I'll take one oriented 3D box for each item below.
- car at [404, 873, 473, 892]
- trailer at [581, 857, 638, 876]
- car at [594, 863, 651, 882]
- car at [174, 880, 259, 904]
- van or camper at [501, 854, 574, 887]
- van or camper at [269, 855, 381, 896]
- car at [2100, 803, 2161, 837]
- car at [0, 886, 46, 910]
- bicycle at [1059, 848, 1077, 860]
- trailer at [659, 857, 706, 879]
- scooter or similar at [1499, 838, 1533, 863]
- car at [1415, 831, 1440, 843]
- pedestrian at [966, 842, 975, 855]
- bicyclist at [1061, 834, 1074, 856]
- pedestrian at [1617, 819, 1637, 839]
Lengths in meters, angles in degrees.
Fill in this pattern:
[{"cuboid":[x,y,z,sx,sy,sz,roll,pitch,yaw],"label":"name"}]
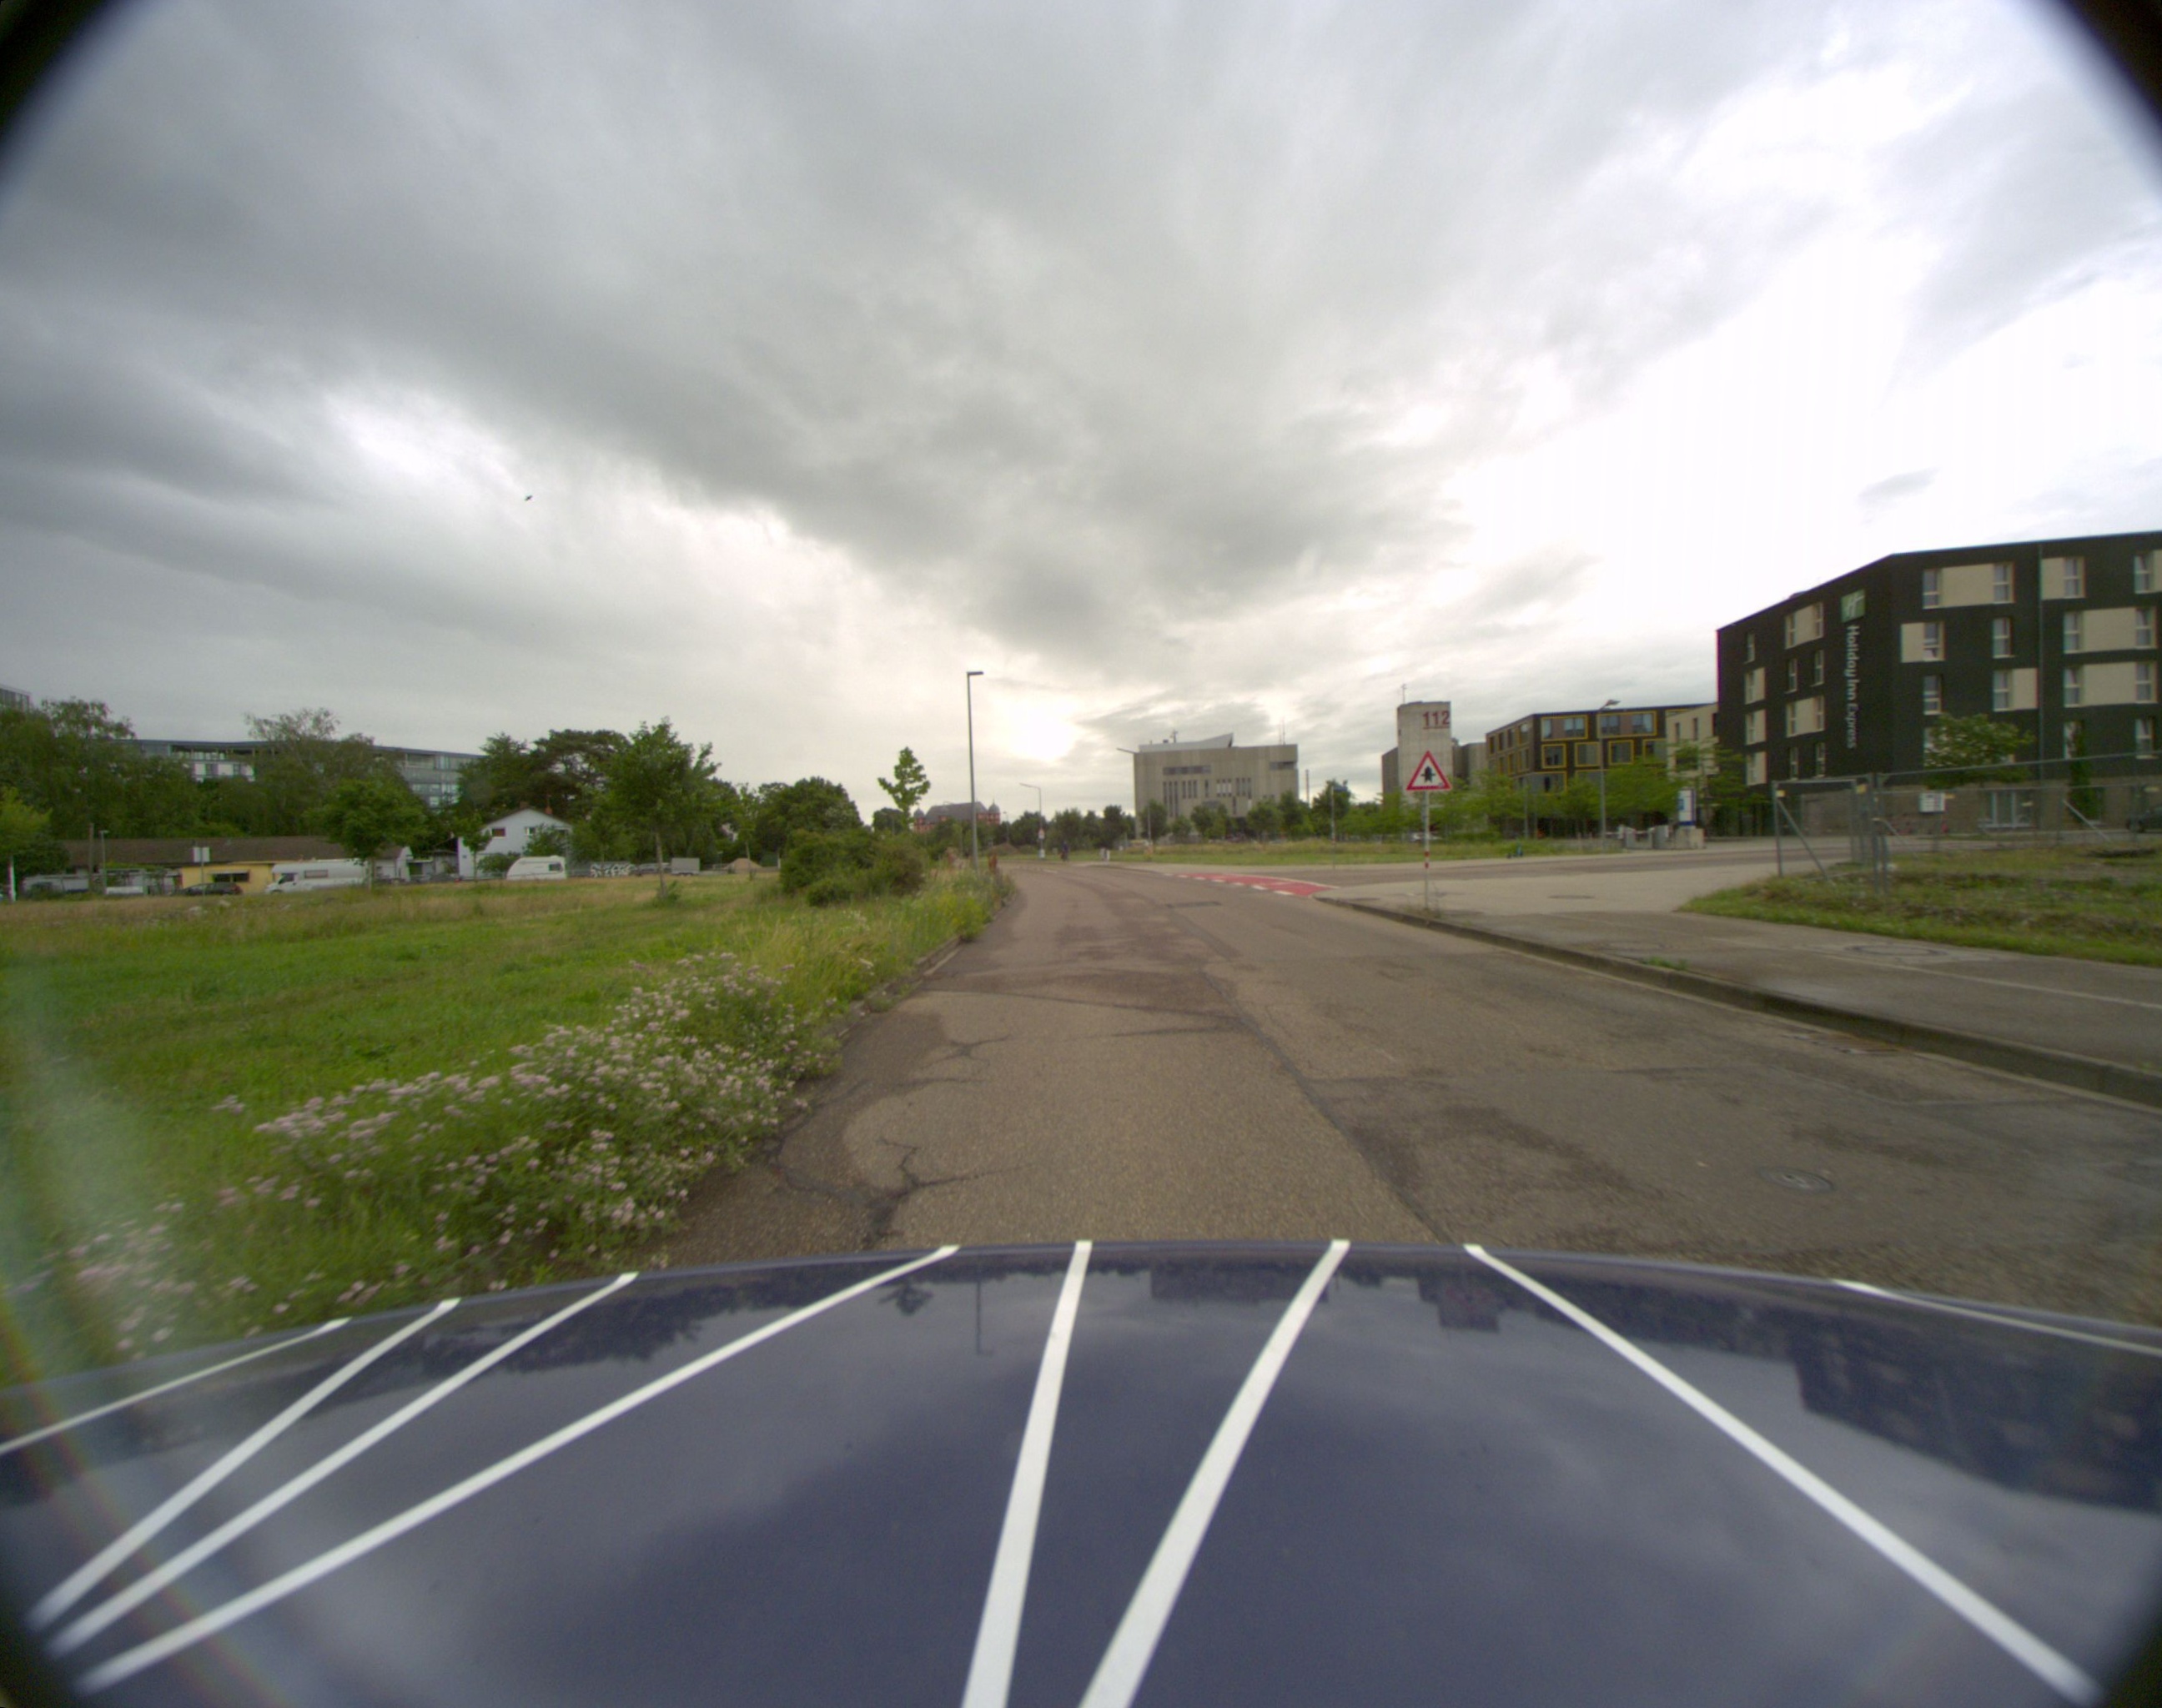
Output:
[{"cuboid":[-56.088,2.443,66.457,4.297,1.377,1.908,-3,1,-31],"label":"car"},{"cuboid":[-40.785,1.074,65.782,4.126,1.524,1.754,-2,0,-33],"label":"trailer"},{"cuboid":[-44.318,1.775,73.513,4.600,1.630,1.995,-2,0,-31],"label":"car"},{"cuboid":[-67.883,2.987,59.738,3.940,1.564,1.996,-2,-2,-30],"label":"car"},{"cuboid":[-50.136,1.498,70.256,5.187,2.815,2.411,-2,0,-29],"label":"van or camper"},{"cuboid":[-62.353,1.732,62.870,6.083,3.093,2.266,-2,0,-32],"label":"van or camper"},{"cuboid":[48.514,-1.550,33.654,1.696,1.433,4.003,-2,0,9],"label":"car"},{"cuboid":[-77.592,3.174,54.009,4.290,1.564,1.996,-2,-2,-30],"label":"car"},{"cuboid":[-1.225,-0.002,70.178,0.887,1.046,2.465,-2,0,-20],"label":"bicycle"},{"cuboid":[-40.147,1.391,76.559,4.005,2.002,1.639,-2,0,-31],"label":"trailer"},{"cuboid":[21.359,-0.169,37.298,1.468,1.162,0.570,-3,2,-15],"label":"scooter or similar"},{"cuboid":[48.439,-2.334,106.296,1.998,1.514,4.002,-1,0,6],"label":"car"},{"cuboid":[-16.138,-0.767,110.746,0.848,1.772,1.074,-3,0,-31],"label":"pedestrian"},{"cuboid":[-1.245,-0.834,70.132,0.865,2.002,1.175,-2,0,-20],"label":"bicyclist"},{"cuboid":[45.200,-2.050,62.919,0.954,1.561,0.875,-2,0,-6],"label":"pedestrian"}]
